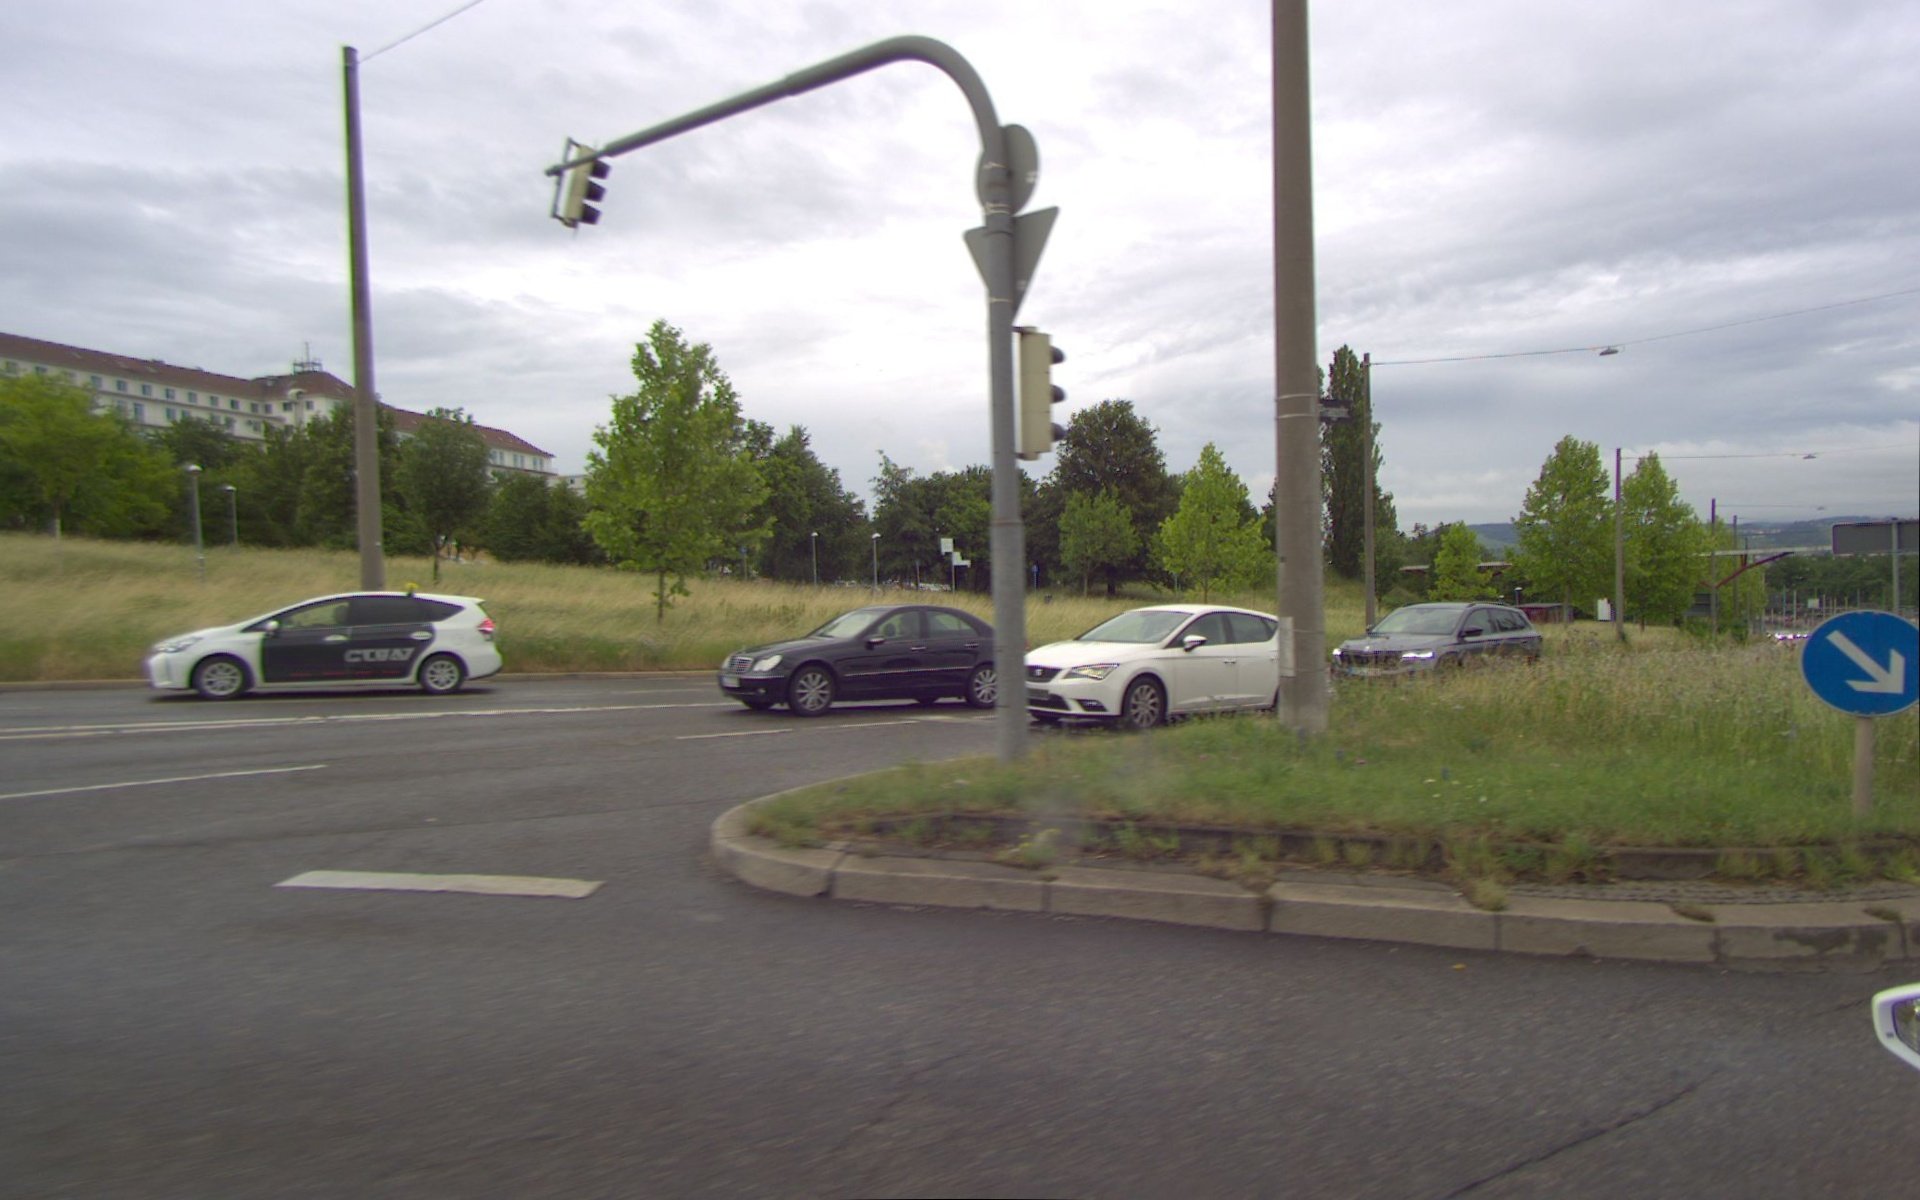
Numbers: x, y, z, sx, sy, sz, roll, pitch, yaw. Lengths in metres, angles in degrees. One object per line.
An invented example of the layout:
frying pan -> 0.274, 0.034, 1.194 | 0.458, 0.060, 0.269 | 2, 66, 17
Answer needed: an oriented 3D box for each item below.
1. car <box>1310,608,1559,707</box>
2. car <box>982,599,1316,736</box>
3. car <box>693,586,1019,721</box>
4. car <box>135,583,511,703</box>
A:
car -> 7.737, 0.836, 16.311 | 3.957, 1.342, 1.884 | -1, 1, -33
car -> 2.359, 0.753, 12.105 | 3.962, 1.391, 1.725 | 2, -1, -36
car -> -1.343, 0.694, 13.598 | 3.962, 1.557, 1.882 | 3, -1, -36
car -> -9.551, 0.654, 15.534 | 4.619, 1.632, 1.877 | 2, -1, -29
